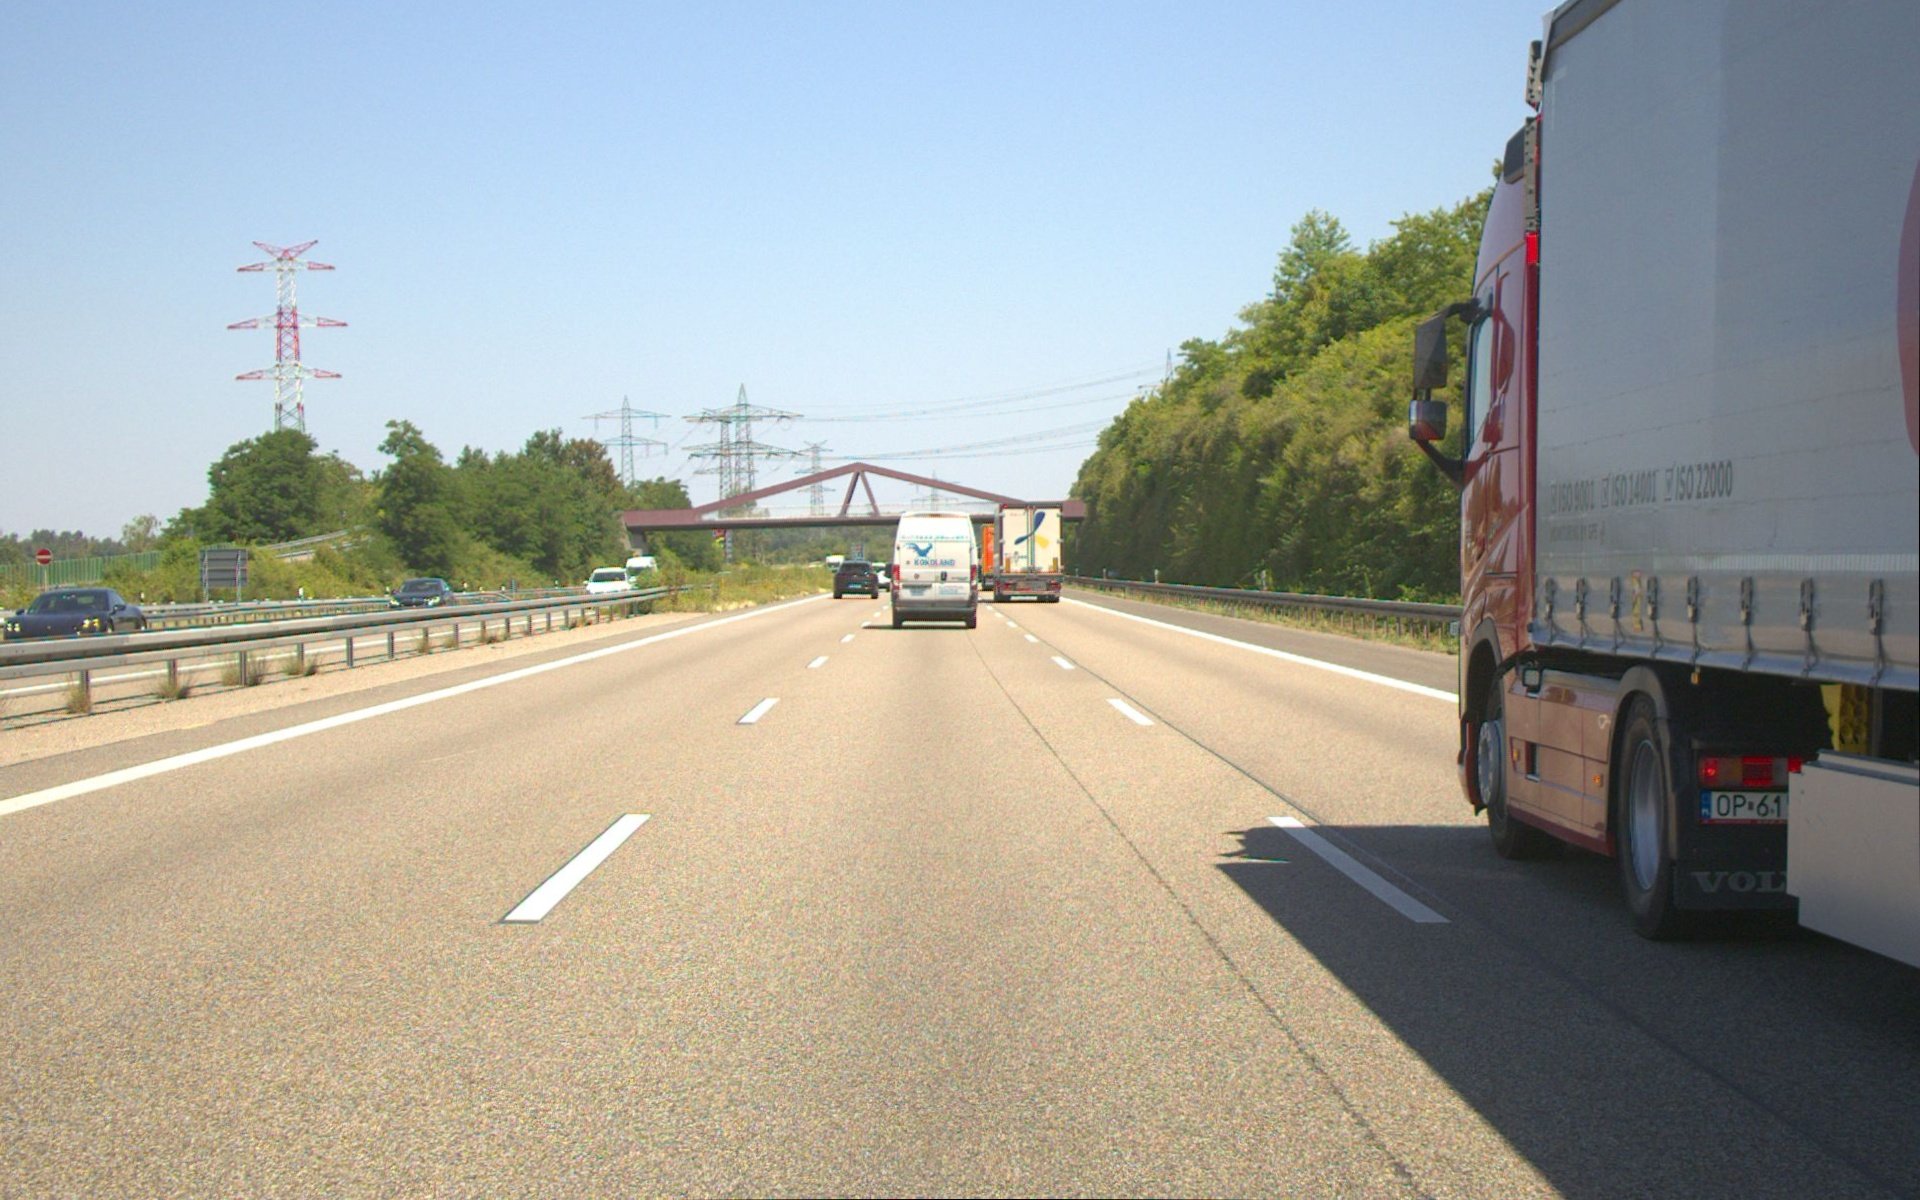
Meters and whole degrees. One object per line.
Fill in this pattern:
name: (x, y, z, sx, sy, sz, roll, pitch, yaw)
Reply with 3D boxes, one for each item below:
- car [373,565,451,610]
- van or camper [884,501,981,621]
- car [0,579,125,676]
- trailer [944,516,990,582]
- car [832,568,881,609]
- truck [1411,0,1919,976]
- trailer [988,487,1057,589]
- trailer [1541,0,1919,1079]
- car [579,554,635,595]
car: (-18.359, -0.443, 115.382, 1.868, 1.393, 4.546, -3, 1, -1)
van or camper: (-0.669, -0.961, 83.354, 2.230, 2.772, 5.423, 1, 1, -1)
car: (-16.957, 0.475, 63.383, 1.972, 1.641, 5.017, 1, 1, -1)
trailer: (0.441, -3.102, 209.868, 2.637, 3.883, 7.069, 1, 1, 0)
car: (-4.717, -0.524, 157.344, 1.982, 1.811, 3.812, 1, 1, 1)
truck: (3.853, -0.657, 15.805, 2.499, 3.906, 7.097, 0, 1, -1)
trailer: (2.579, -2.590, 145.205, 2.637, 4.046, 12.366, 1, 1, 0)
trailer: (3.951, -0.591, 8.126, 2.490, 3.896, 14.247, 0, 1, -1)
car: (-13.867, -1.010, 135.136, 1.717, 1.524, 4.667, -3, 1, -1)
